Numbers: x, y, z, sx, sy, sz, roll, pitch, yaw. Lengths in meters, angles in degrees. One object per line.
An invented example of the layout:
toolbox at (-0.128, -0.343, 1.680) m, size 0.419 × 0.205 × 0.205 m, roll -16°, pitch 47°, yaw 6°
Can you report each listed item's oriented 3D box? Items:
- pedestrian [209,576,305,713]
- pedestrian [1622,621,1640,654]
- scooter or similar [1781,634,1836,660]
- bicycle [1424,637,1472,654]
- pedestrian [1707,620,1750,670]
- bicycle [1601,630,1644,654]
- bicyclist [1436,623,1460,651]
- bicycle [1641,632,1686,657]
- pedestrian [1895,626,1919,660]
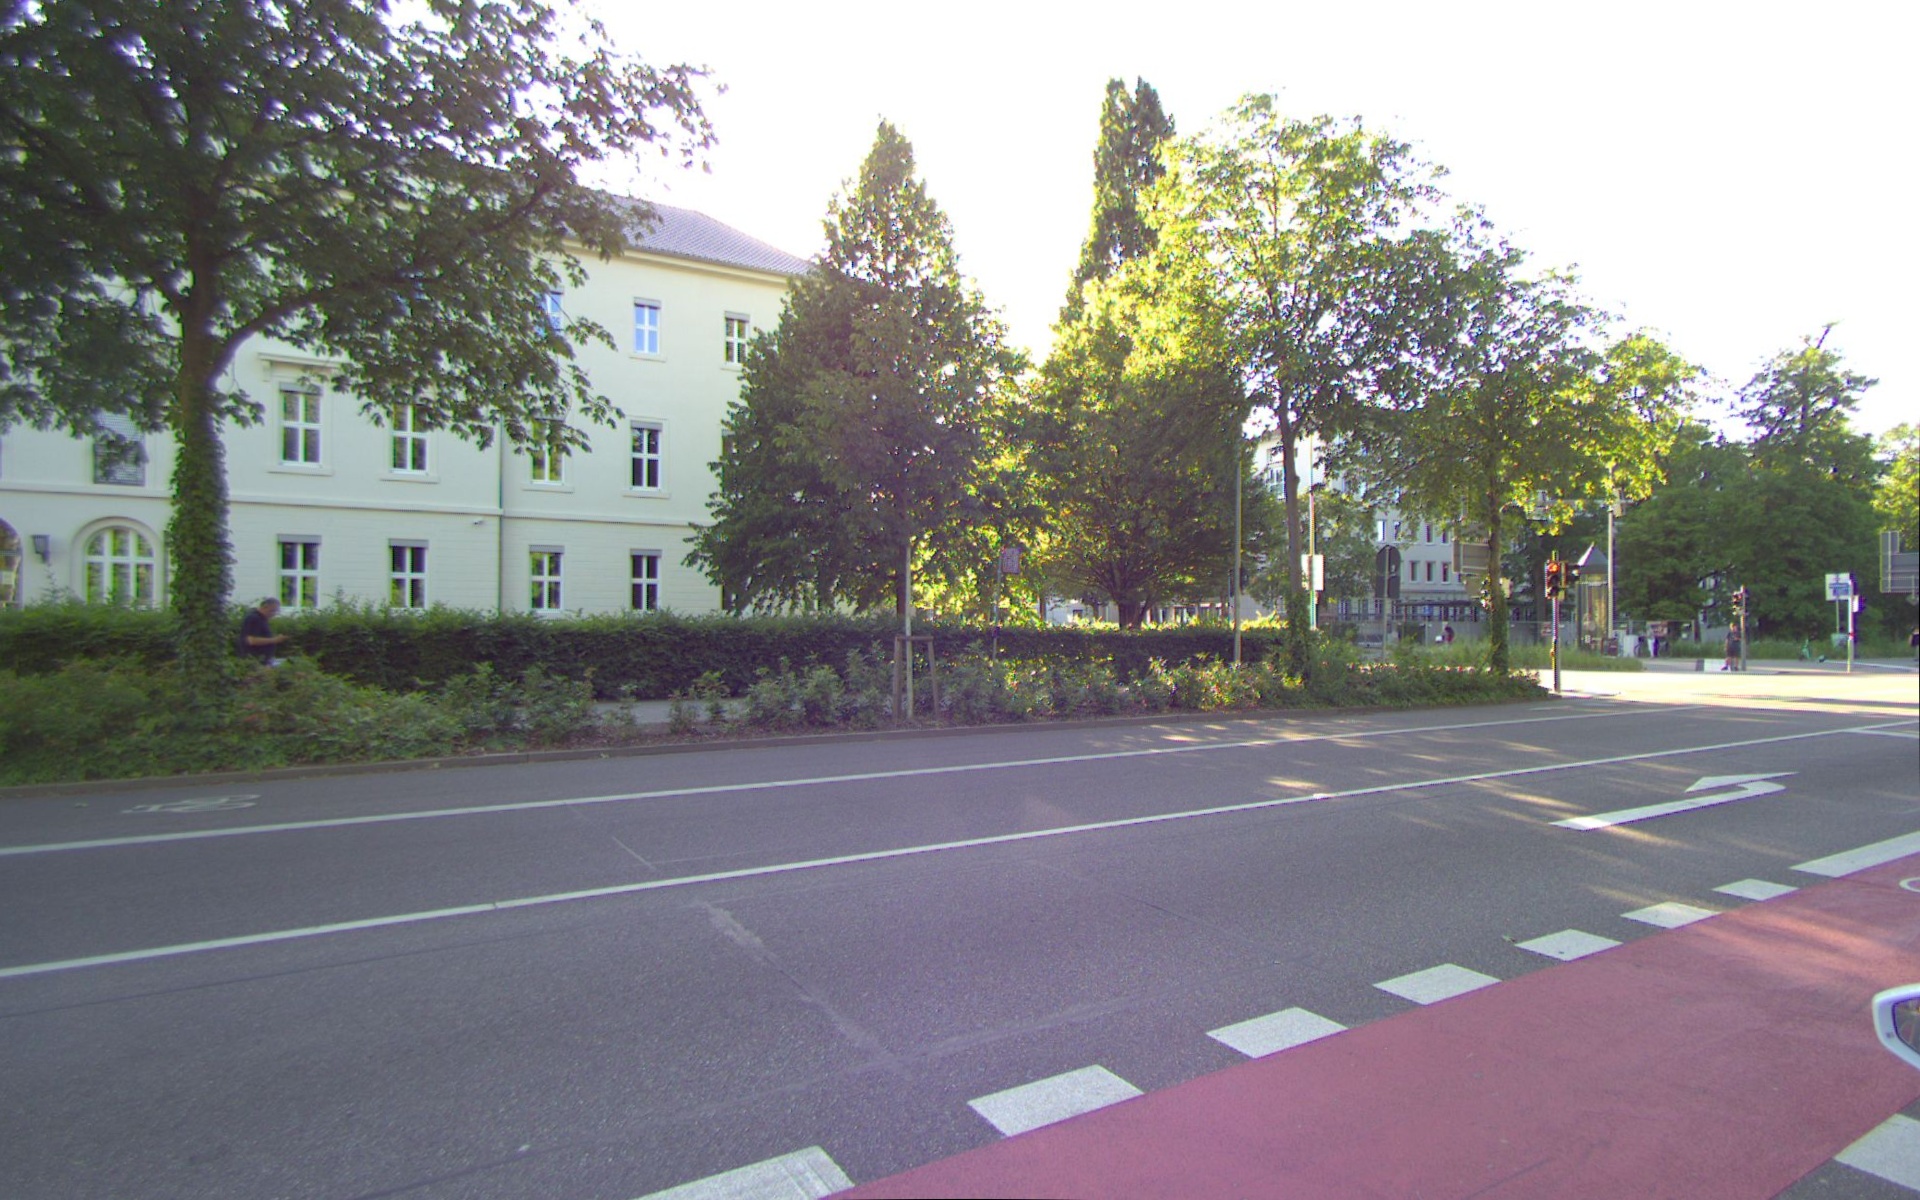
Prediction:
pedestrian at (-9.342, 0.588, 13.399) m, size 0.957 × 1.743 × 0.830 m, roll 1°, pitch -2°, yaw -31°
pedestrian at (34.202, 1.920, 51.182) m, size 0.440 × 1.664 × 0.625 m, roll 1°, pitch 0°, yaw -31°
scooter or similar at (39.344, 2.183, 46.584) m, size 1.882 × 1.139 × 0.713 m, roll 1°, pitch 0°, yaw 3°
bicycle at (28.609, 2.661, 58.973) m, size 0.574 × 1.002 × 2.695 m, roll 1°, pitch -2°, yaw -29°
pedestrian at (31.882, 1.870, 41.674) m, size 1.175 × 2.040 × 0.992 m, roll 1°, pitch 0°, yaw -25°
bicycle at (34.154, 2.153, 51.810) m, size 0.438 × 1.163 × 1.851 m, roll 1°, pitch -1°, yaw -32°
bicyclist at (28.631, 2.156, 58.942) m, size 0.867 × 1.627 × 0.970 m, roll 1°, pitch -2°, yaw -29°
bicycle at (34.950, 2.206, 49.922) m, size 0.288 × 1.163 × 1.849 m, roll 1°, pitch -1°, yaw -36°
pedestrian at (45.187, 2.030, 47.606) m, size 0.992 × 1.624 × 1.080 m, roll 1°, pitch -2°, yaw -36°
